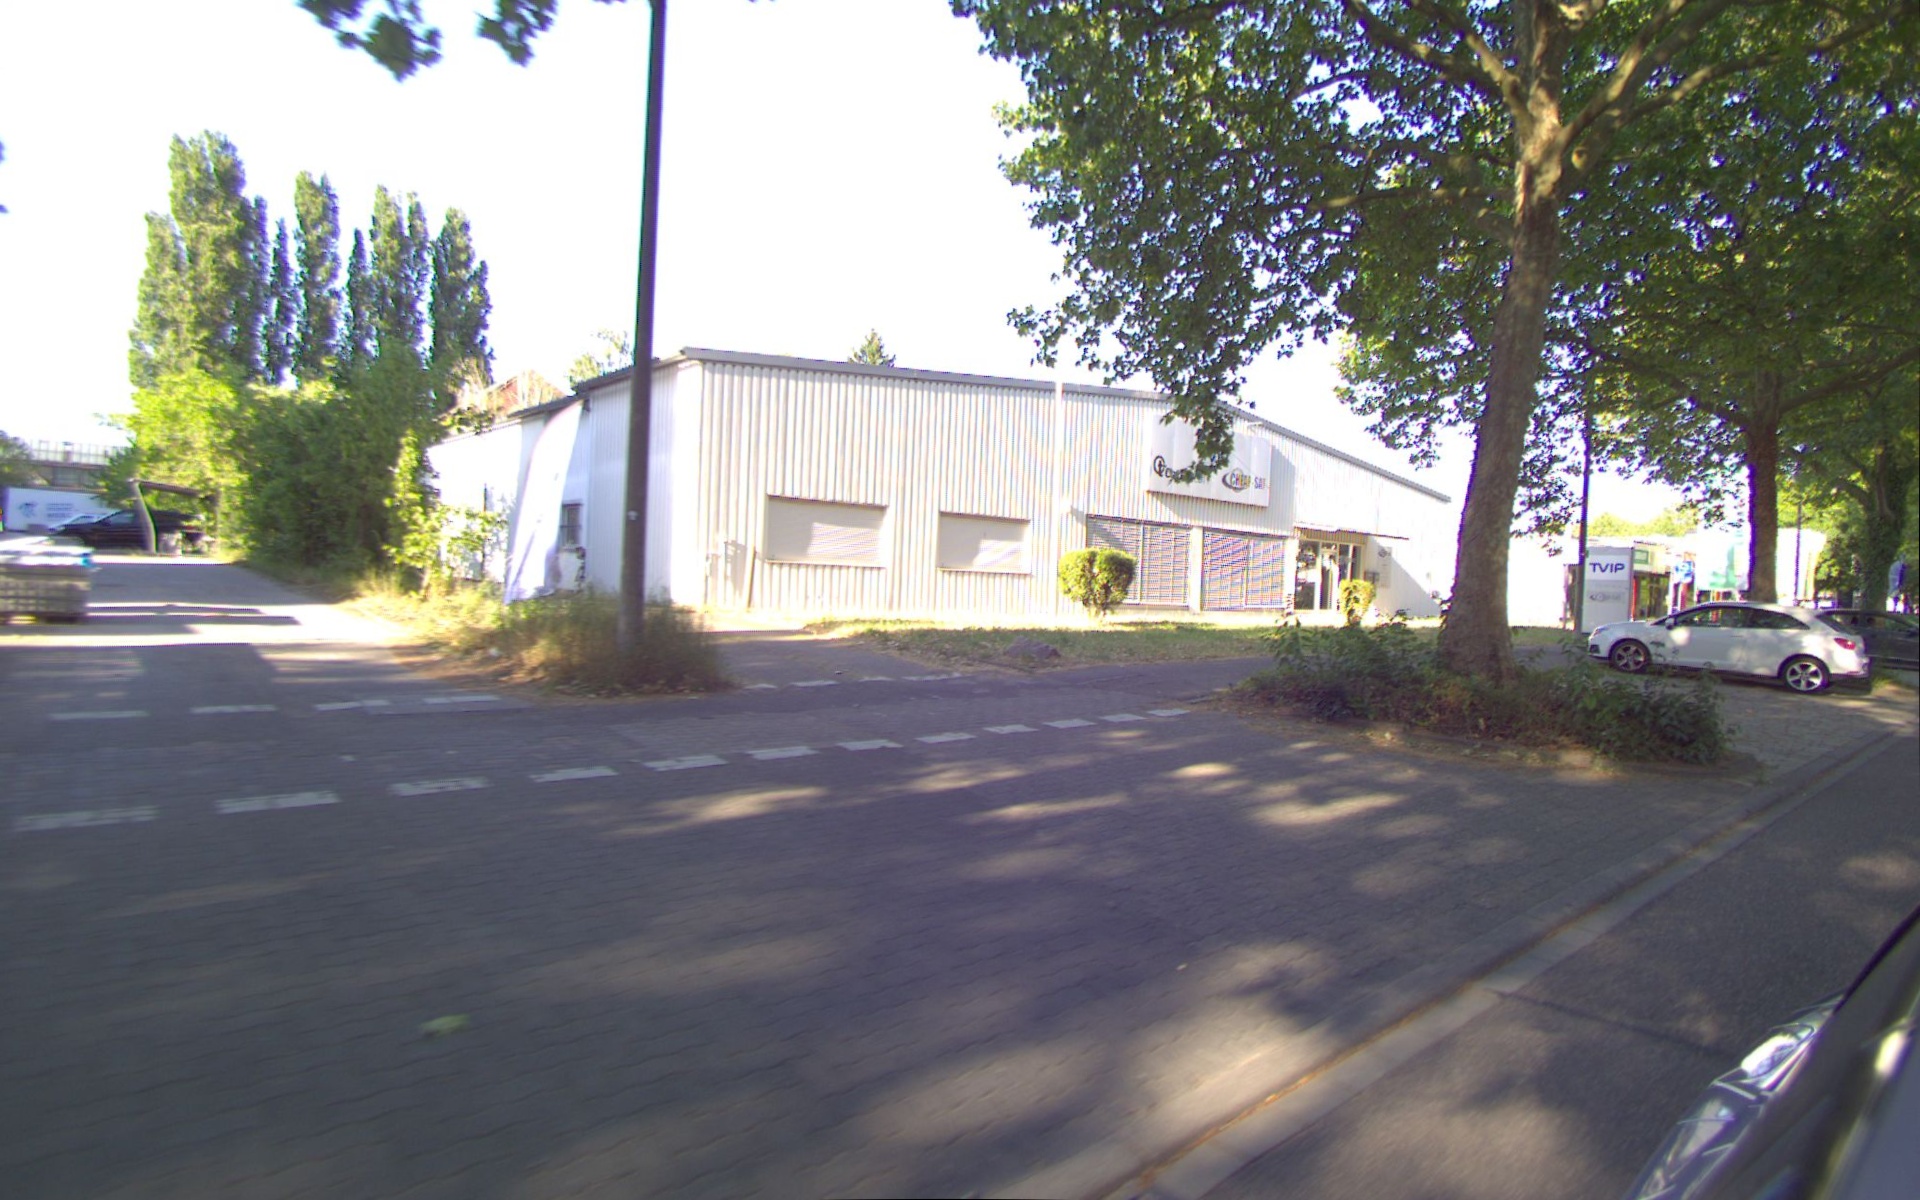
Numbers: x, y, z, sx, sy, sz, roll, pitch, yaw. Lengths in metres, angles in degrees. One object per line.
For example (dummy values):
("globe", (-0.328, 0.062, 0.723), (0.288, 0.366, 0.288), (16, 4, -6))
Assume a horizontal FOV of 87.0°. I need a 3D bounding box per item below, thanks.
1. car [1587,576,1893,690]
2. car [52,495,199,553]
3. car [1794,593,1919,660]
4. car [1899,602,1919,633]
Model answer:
("car", (13.590, 0.485, 17.821), (1.637, 1.531, 3.944), (1, 4, -40))
("car", (-29.745, -2.662, 36.149), (3.931, 1.771, 1.997), (1, 0, -42))
("car", (24.236, 0.753, 25.778), (4.397, 1.435, 1.968), (7, 4, 45))
("car", (47.985, 1.001, 48.456), (4.291, 1.435, 1.968), (7, 4, 45))
